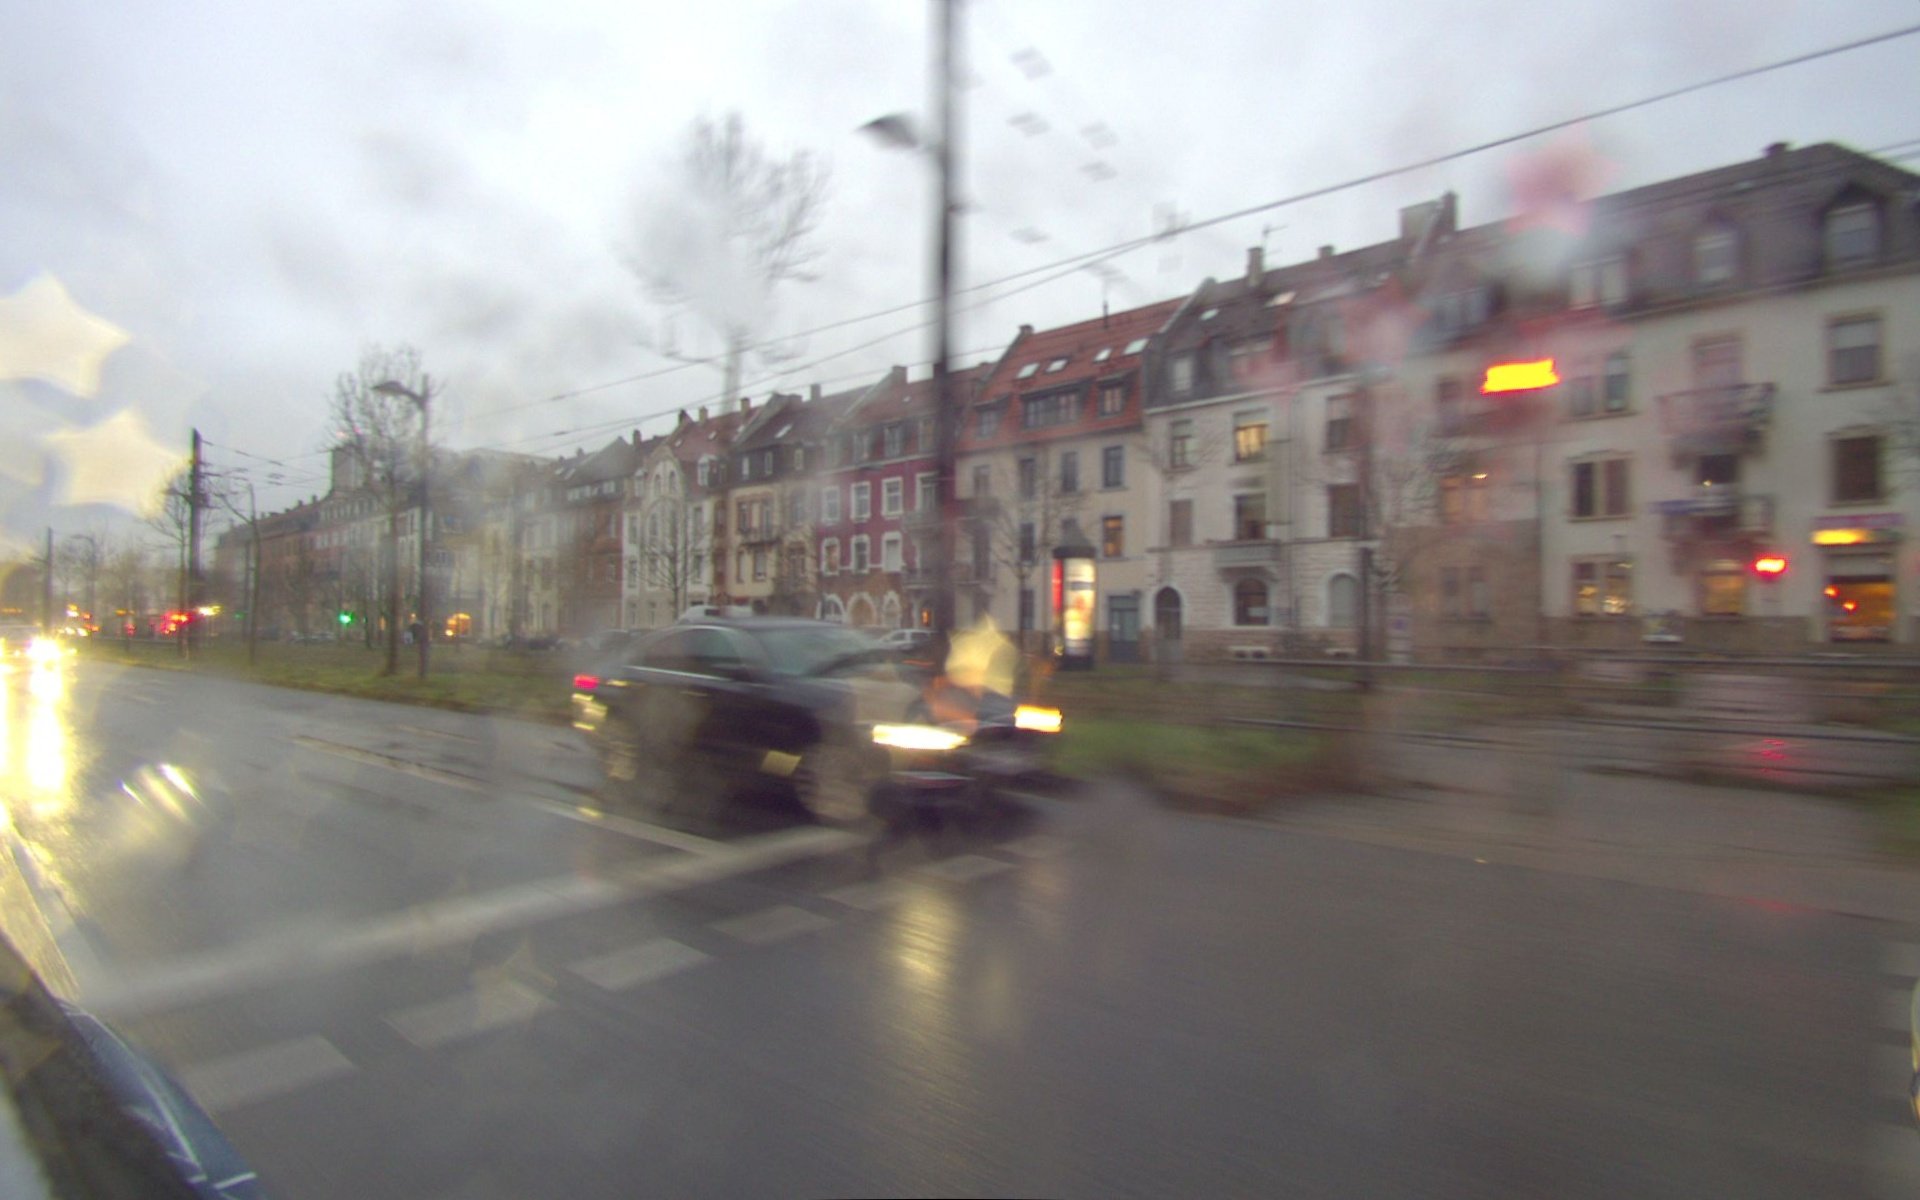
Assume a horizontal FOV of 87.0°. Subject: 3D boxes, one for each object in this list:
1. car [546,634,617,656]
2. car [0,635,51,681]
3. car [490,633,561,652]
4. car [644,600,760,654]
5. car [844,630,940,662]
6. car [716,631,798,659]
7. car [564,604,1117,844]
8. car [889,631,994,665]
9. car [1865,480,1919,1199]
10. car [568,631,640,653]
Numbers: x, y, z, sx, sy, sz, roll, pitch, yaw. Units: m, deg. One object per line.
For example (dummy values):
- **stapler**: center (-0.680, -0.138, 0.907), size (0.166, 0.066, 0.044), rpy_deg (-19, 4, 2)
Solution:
- **car**: center (-23.963, 2.864, 64.271), size (3.934, 1.342, 2.004), rpy_deg (1, -2, -11)
- **car**: center (-33.914, 2.045, 36.205), size (4.054, 1.508, 1.789), rpy_deg (-2, -1, 44)
- **car**: center (-28.730, 2.811, 67.025), size (3.936, 1.178, 2.004), rpy_deg (0, -2, -8)
- **car**: center (-13.824, 1.472, 54.538), size (5.778, 2.819, 2.002), rpy_deg (0, -2, -5)
- **car**: center (-2.958, 1.953, 43.391), size (3.936, 1.342, 2.004), rpy_deg (1, -2, -9)
- **car**: center (-10.044, 2.215, 50.328), size (3.936, 1.342, 2.004), rpy_deg (1, -2, -9)
- **car**: center (-1.246, 0.799, 8.391), size (4.823, 1.441, 1.790), rpy_deg (-1, -1, 41)
- **car**: center (-0.781, 1.909, 40.556), size (3.936, 1.342, 2.004), rpy_deg (1, -2, -9)
- **car**: center (3.523, 0.535, 0.779), size (4.048, 1.612, 1.792), rpy_deg (-1, -1, 38)
- **car**: center (-21.687, 2.558, 61.766), size (3.934, 1.342, 2.005), rpy_deg (1, -2, -12)
